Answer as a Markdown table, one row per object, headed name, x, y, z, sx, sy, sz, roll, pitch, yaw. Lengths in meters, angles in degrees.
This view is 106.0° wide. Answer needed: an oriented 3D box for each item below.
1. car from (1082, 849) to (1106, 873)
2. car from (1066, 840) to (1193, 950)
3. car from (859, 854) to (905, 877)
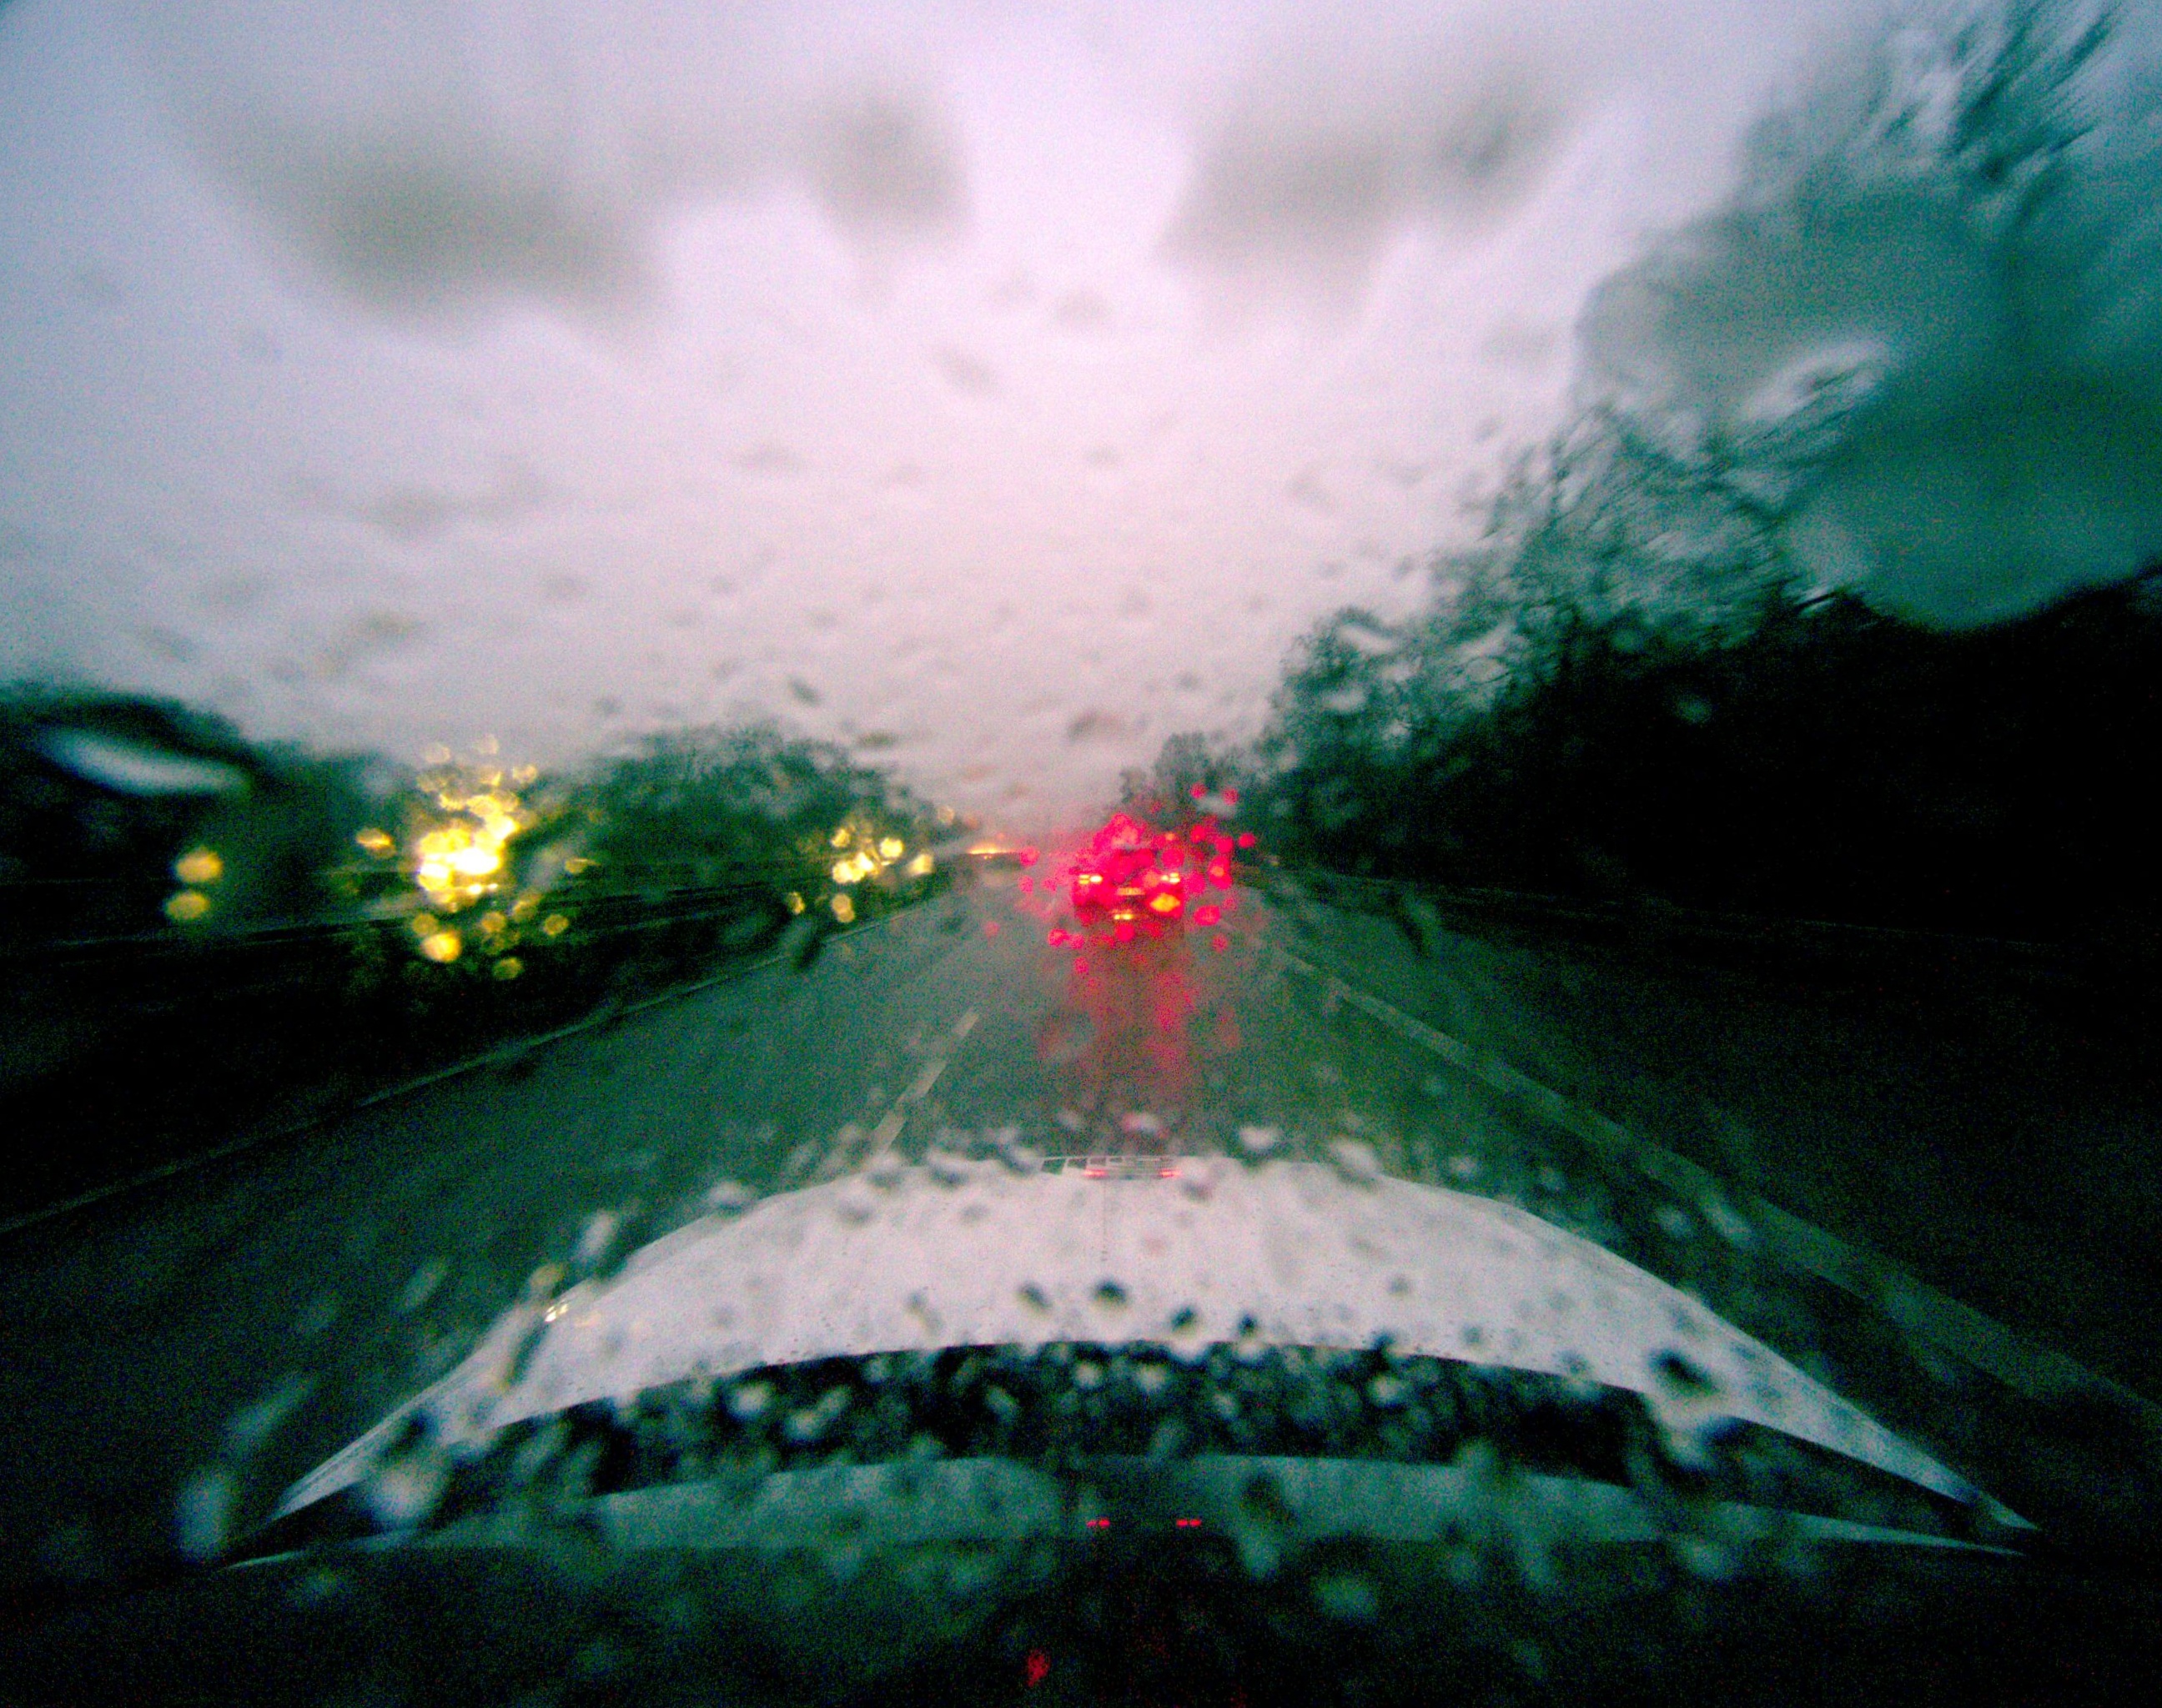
| name | x | y | z | sx | sy | sz | roll | pitch | yaw |
| --- | --- | --- | --- | --- | --- | --- | --- | --- | --- |
| car | 1.113 | 0.612 | 72.287 | 1.987 | 2.013 | 3.999 | 0 | 0 | 0 |
| car | 0.790 | 0.647 | 14.707 | 1.985 | 1.715 | 3.830 | 0 | 0 | 1 |
| car | -14.290 | 0.804 | 58.686 | 1.986 | 1.589 | 4.960 | -1 | 0 | 1 |
